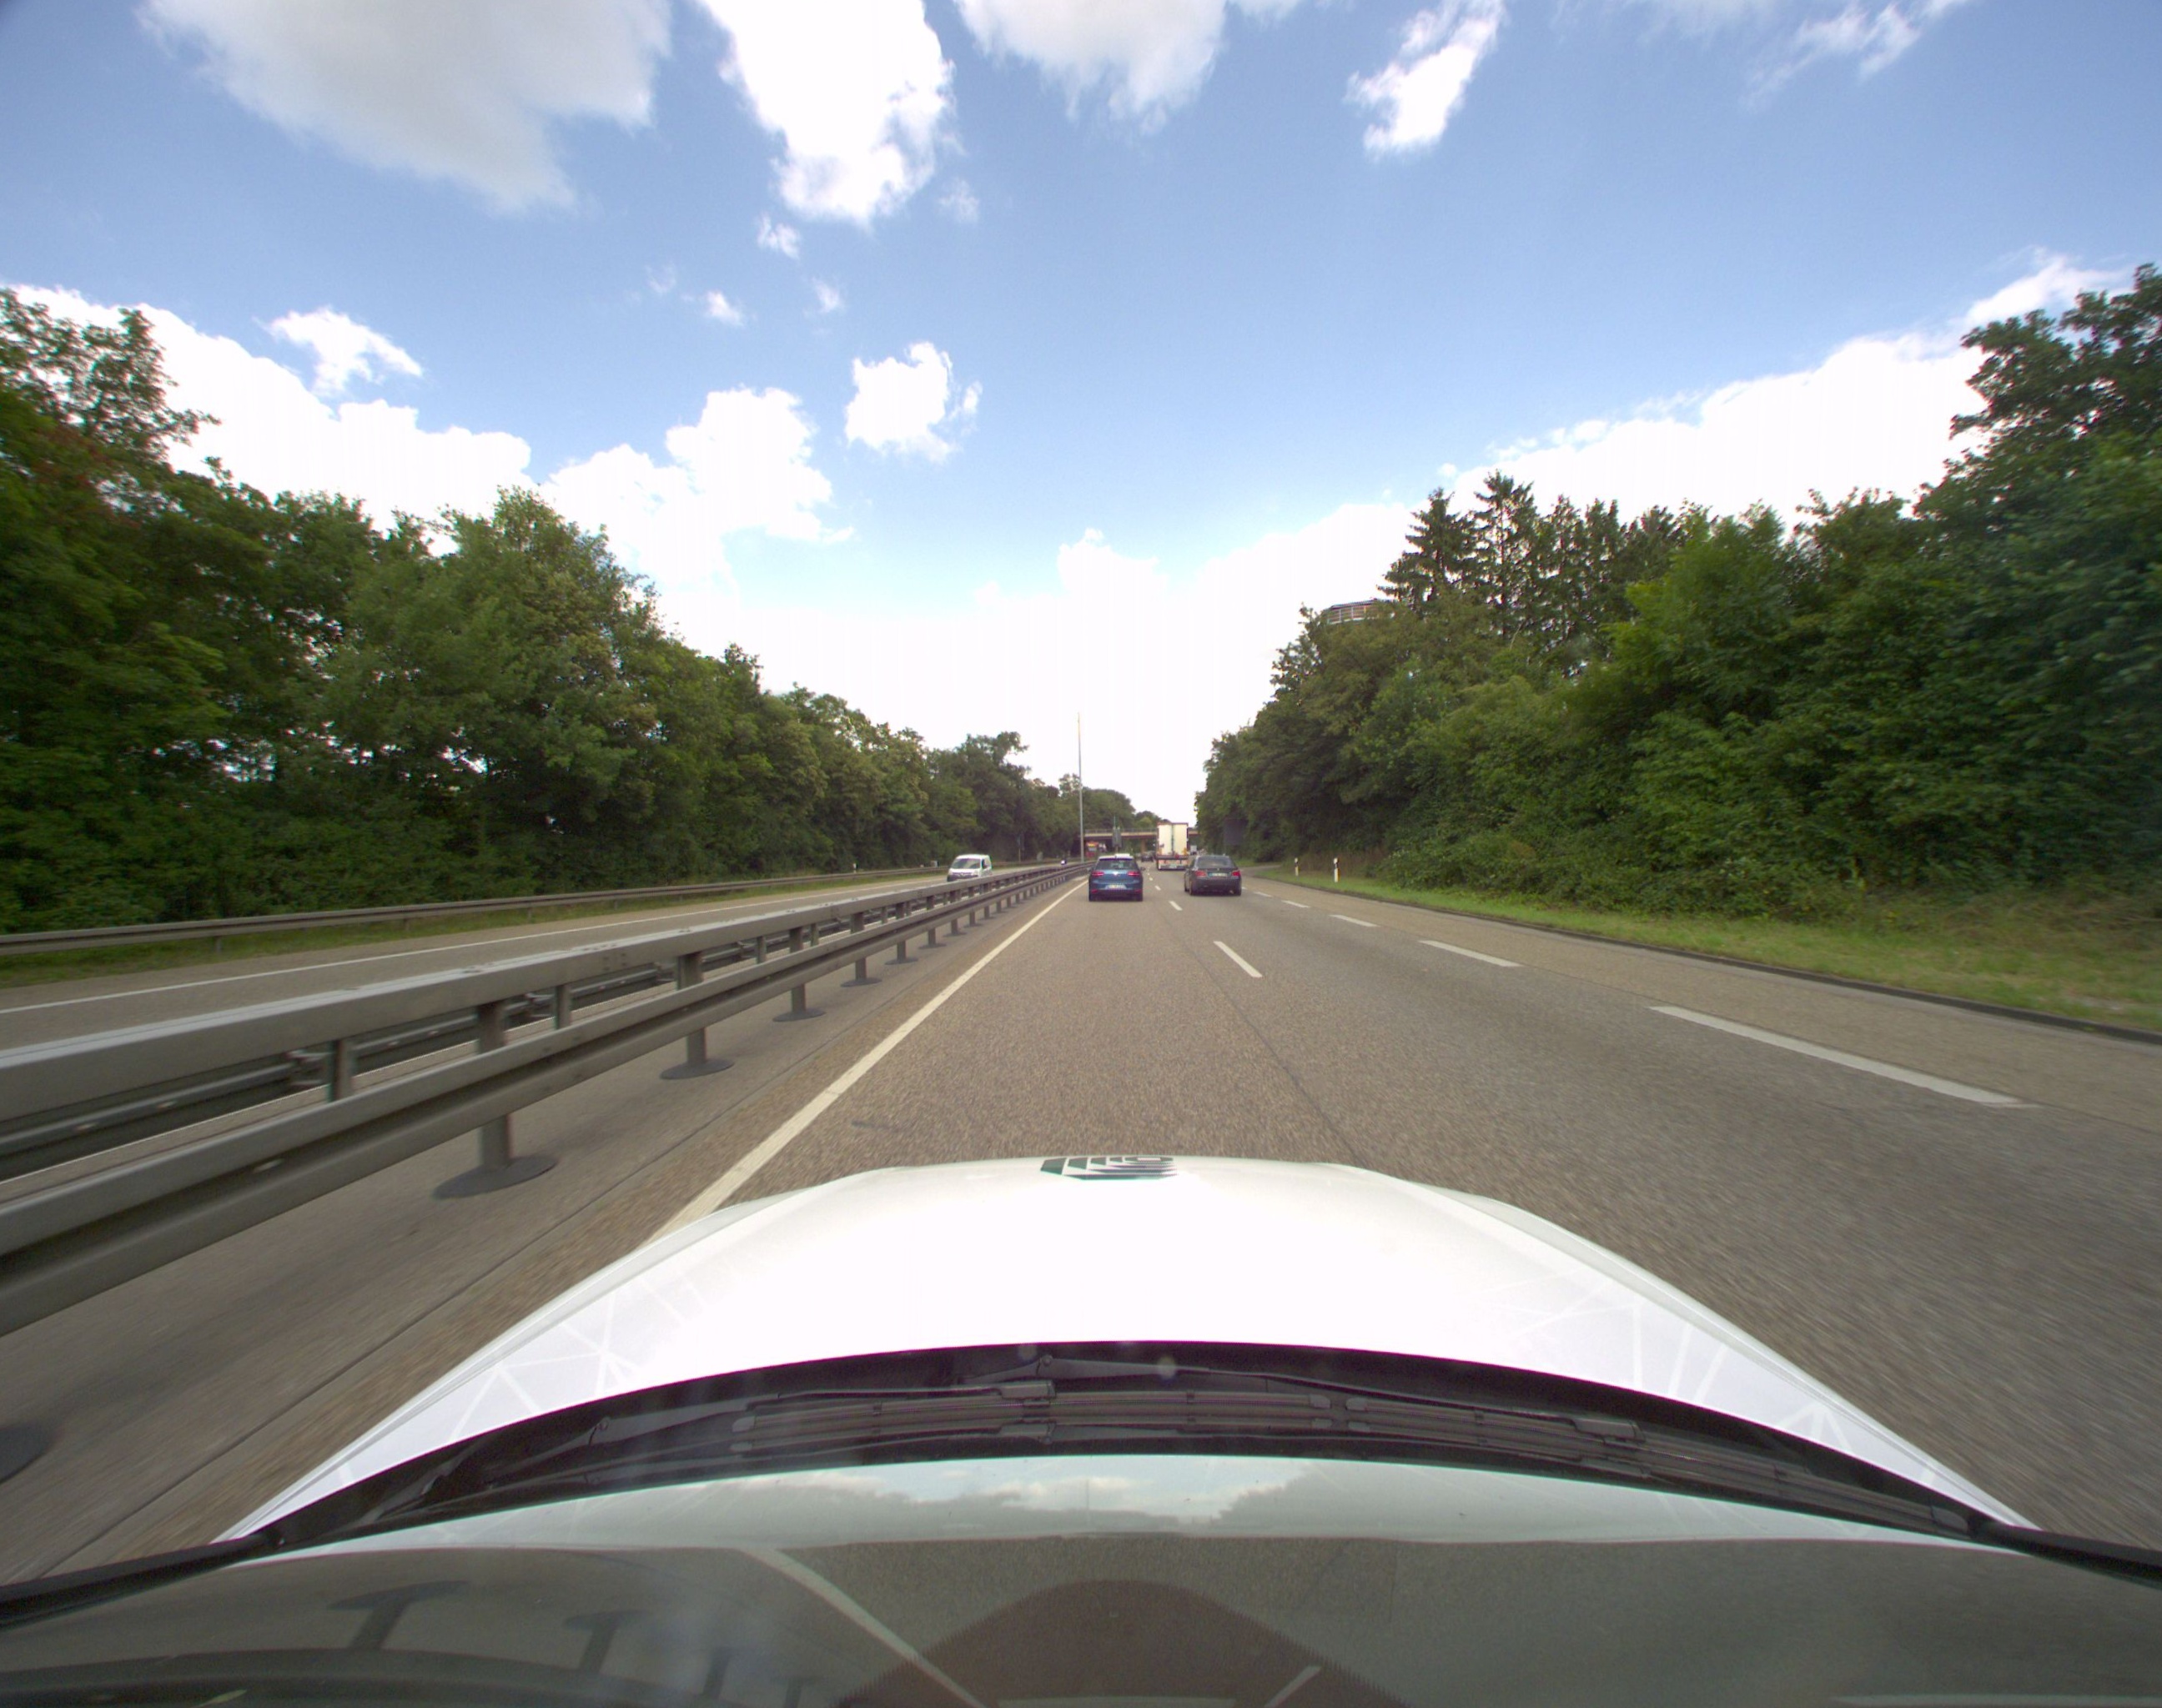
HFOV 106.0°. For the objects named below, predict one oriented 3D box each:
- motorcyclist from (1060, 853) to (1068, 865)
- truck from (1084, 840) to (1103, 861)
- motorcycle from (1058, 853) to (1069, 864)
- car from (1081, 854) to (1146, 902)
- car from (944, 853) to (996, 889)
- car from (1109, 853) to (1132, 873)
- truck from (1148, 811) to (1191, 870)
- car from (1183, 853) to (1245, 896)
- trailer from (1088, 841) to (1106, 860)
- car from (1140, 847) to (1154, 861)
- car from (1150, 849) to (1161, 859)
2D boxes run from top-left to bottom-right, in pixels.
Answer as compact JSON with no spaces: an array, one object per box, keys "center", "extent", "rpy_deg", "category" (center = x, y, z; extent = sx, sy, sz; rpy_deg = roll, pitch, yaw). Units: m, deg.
[{"center":[-1.966,0.560,92.140],"extent":[0.822,1.226,0.720],"rpy_deg":[-1,0,3],"category":"motorcyclist"},{"center":[2.575,-0.667,163.545],"extent":[2.941,3.855,10.338],"rpy_deg":[-2,0,5],"category":"truck"},{"center":[-1.984,0.466,92.514],"extent":[0.995,1.201,3.000],"rpy_deg":[-1,0,3],"category":"motorcycle"},{"center":[1.164,0.731,27.076],"extent":[1.695,1.470,4.010],"rpy_deg":[0,0,9],"category":"car"},{"center":[-5.987,0.877,44.509],"extent":[1.837,1.818,5.481],"rpy_deg":[-1,0,2],"category":"car"},{"center":[3.211,0.705,65.397],"extent":[1.657,1.500,4.158],"rpy_deg":[0,0,5],"category":"car"},{"center":[7.714,-1.134,72.306],"extent":[3.228,4.716,11.017],"rpy_deg":[-1,0,3],"category":"truck"},{"center":[4.857,0.701,30.341],"extent":[1.767,1.475,4.884],"rpy_deg":[0,0,3],"category":"car"},{"center":[3.542,-0.676,173.817],"extent":[2.923,3.833,10.326],"rpy_deg":[-2,0,6],"category":"trailer"},{"center":[10.287,-0.045,126.413],"extent":[1.943,2.013,4.009],"rpy_deg":[-2,0,7],"category":"car"},{"center":[14.012,-0.008,152.724],"extent":[1.756,1.772,4.032],"rpy_deg":[-1,0,8],"category":"car"}]
